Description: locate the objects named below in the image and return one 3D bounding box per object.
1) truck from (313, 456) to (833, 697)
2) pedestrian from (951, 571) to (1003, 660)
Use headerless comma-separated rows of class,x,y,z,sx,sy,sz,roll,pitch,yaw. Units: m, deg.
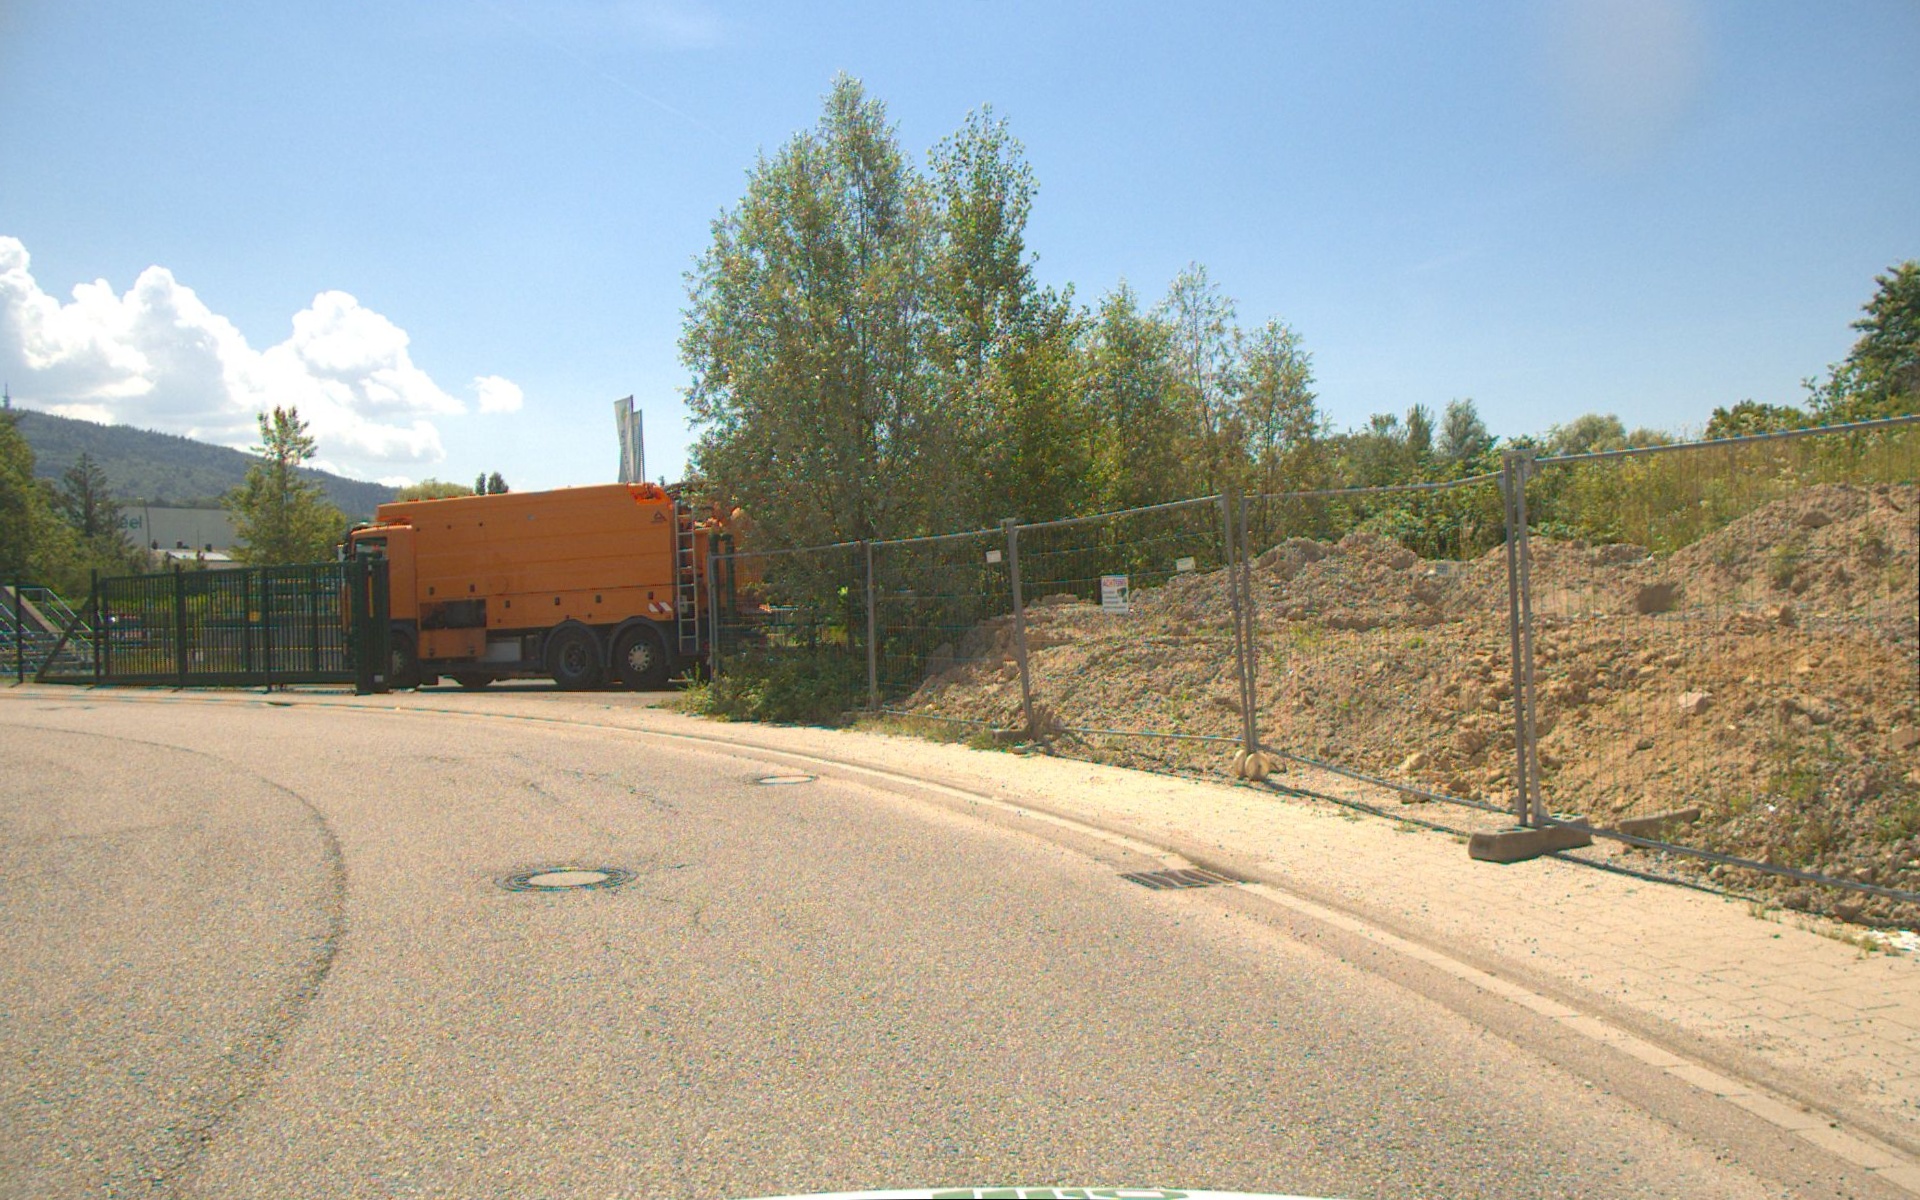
truck,-7.085,-0.332,30.506,8.408,3.872,4.164,-2,0,22
pedestrian,0.373,0.328,35.278,0.858,1.856,0.739,-1,1,25
